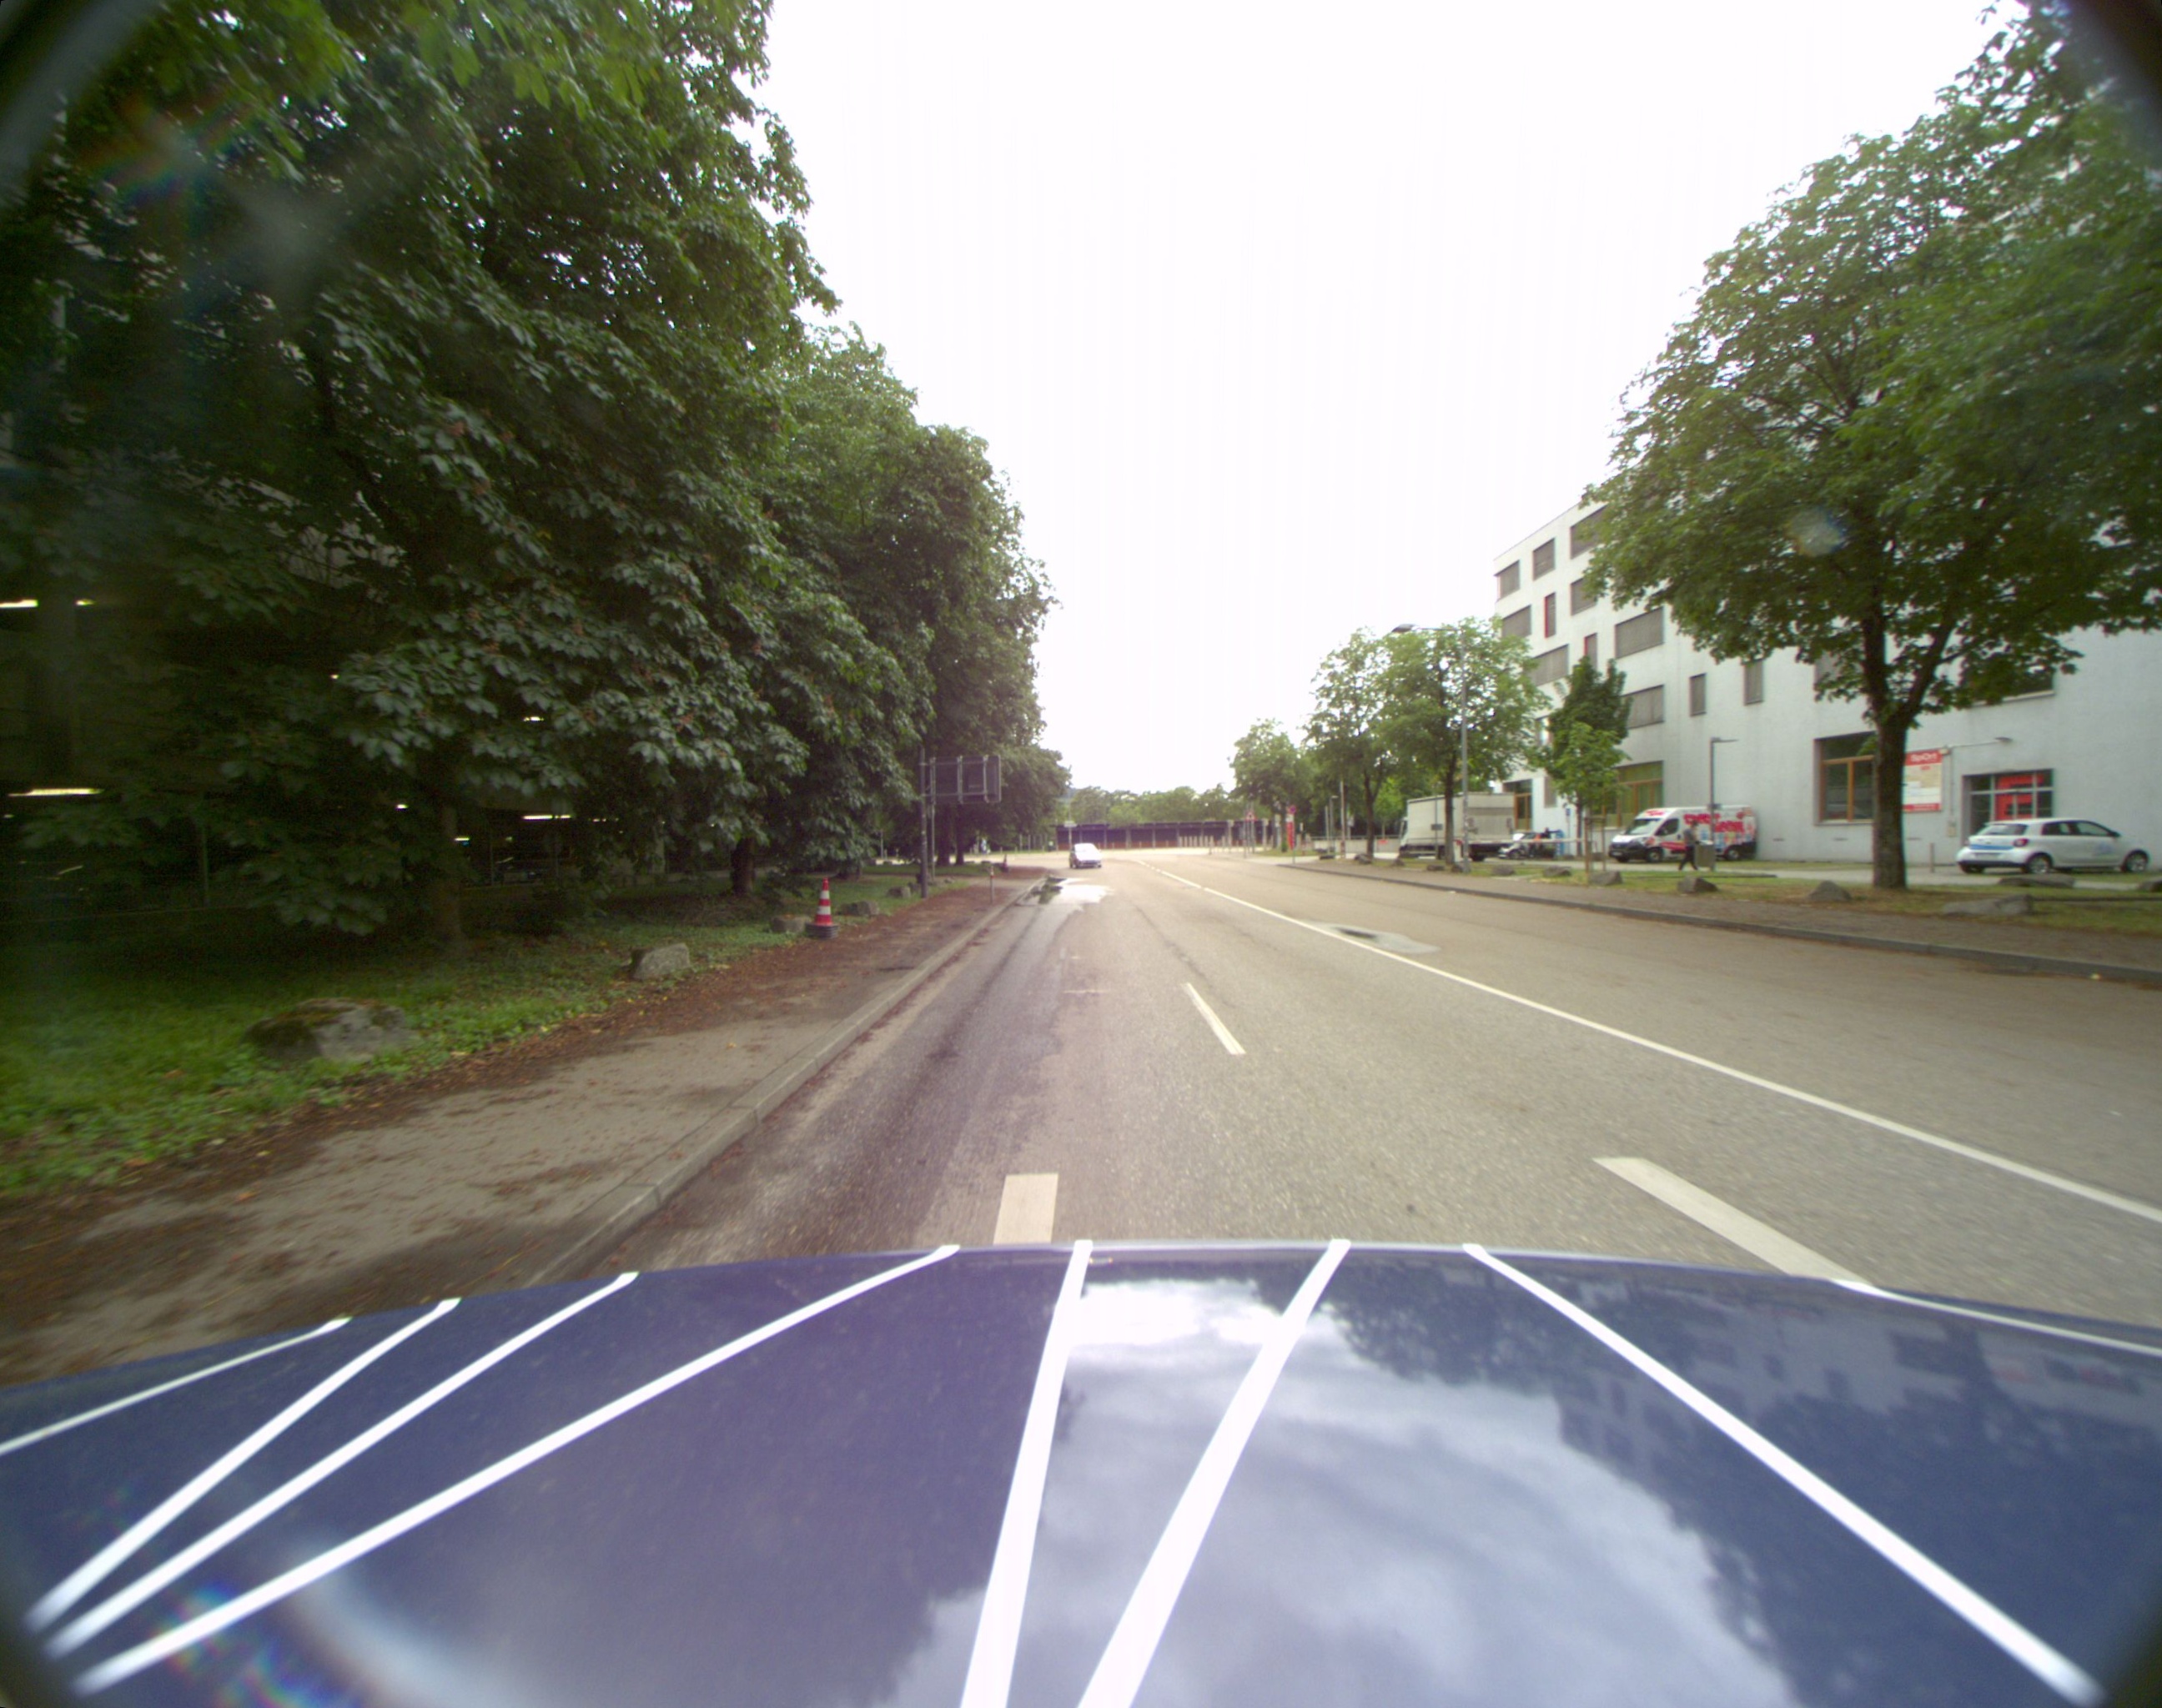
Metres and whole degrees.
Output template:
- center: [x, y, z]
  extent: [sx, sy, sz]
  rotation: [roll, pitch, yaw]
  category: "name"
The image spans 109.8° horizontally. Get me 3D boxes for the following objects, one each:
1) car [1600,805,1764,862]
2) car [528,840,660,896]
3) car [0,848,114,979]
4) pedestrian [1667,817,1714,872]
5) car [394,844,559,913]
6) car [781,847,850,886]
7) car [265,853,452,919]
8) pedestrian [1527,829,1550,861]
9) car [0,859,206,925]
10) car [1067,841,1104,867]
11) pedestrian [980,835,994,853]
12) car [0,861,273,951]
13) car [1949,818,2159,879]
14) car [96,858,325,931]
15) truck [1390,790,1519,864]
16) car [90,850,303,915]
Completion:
- center: [26.568, -0.914, 33.706]
  extent: [5.640, 2.266, 2.078]
  rotation: [-2, 2, 0]
  category: "car"
- center: [-17.274, 0.428, 27.265]
  extent: [1.589, 1.699, 4.666]
  rotation: [-2, 2, 1]
  category: "car"
- center: [-17.917, 1.006, 11.201]
  extent: [1.998, 2.003, 3.999]
  rotation: [-2, 2, 2]
  category: "car"
- center: [18.909, -0.309, 23.591]
  extent: [0.845, 1.663, 0.786]
  rotation: [-2, 3, -4]
  category: "pedestrian"
- center: [-17.389, 0.626, 22.121]
  extent: [1.589, 1.699, 3.856]
  rotation: [-2, 2, 1]
  category: "car"
- center: [-14.056, 0.615, 40.530]
  extent: [1.924, 1.824, 4.734]
  rotation: [-2, 1, 0]
  category: "car"
- center: [-20.385, 0.840, 21.680]
  extent: [1.721, 1.537, 3.700]
  rotation: [-2, 2, -1]
  category: "car"
- center: [23.440, -0.450, 38.929]
  extent: [0.886, 1.597, 0.680]
  rotation: [-1, 3, 21]
  category: "pedestrian"
- center: [-28.213, 1.011, 21.830]
  extent: [1.721, 1.537, 3.700]
  rotation: [-2, 2, 0]
  category: "car"
- center: [0.249, -0.030, 48.219]
  extent: [1.607, 1.448, 3.498]
  rotation: [-3, 2, -11]
  category: "car"
- center: [-9.671, -1.050, 78.151]
  extent: [1.200, 1.824, 0.927]
  rotation: [-2, 3, 4]
  category: "pedestrian"
- center: [-20.604, 1.037, 16.674]
  extent: [1.721, 1.537, 3.700]
  rotation: [-2, 2, -1]
  category: "car"
- center: [26.752, -0.175, 20.984]
  extent: [3.621, 1.492, 1.691]
  rotation: [-2, 2, 0]
  category: "car"
- center: [-22.726, 0.989, 20.087]
  extent: [1.721, 1.537, 3.700]
  rotation: [-2, 2, -1]
  category: "car"
- center: [20.332, -1.473, 42.034]
  extent: [2.684, 3.581, 8.360]
  rotation: [-2, 2, -2]
  category: "truck"
- center: [-25.277, 0.746, 21.940]
  extent: [1.721, 1.537, 3.700]
  rotation: [-2, 2, -1]
  category: "car"
